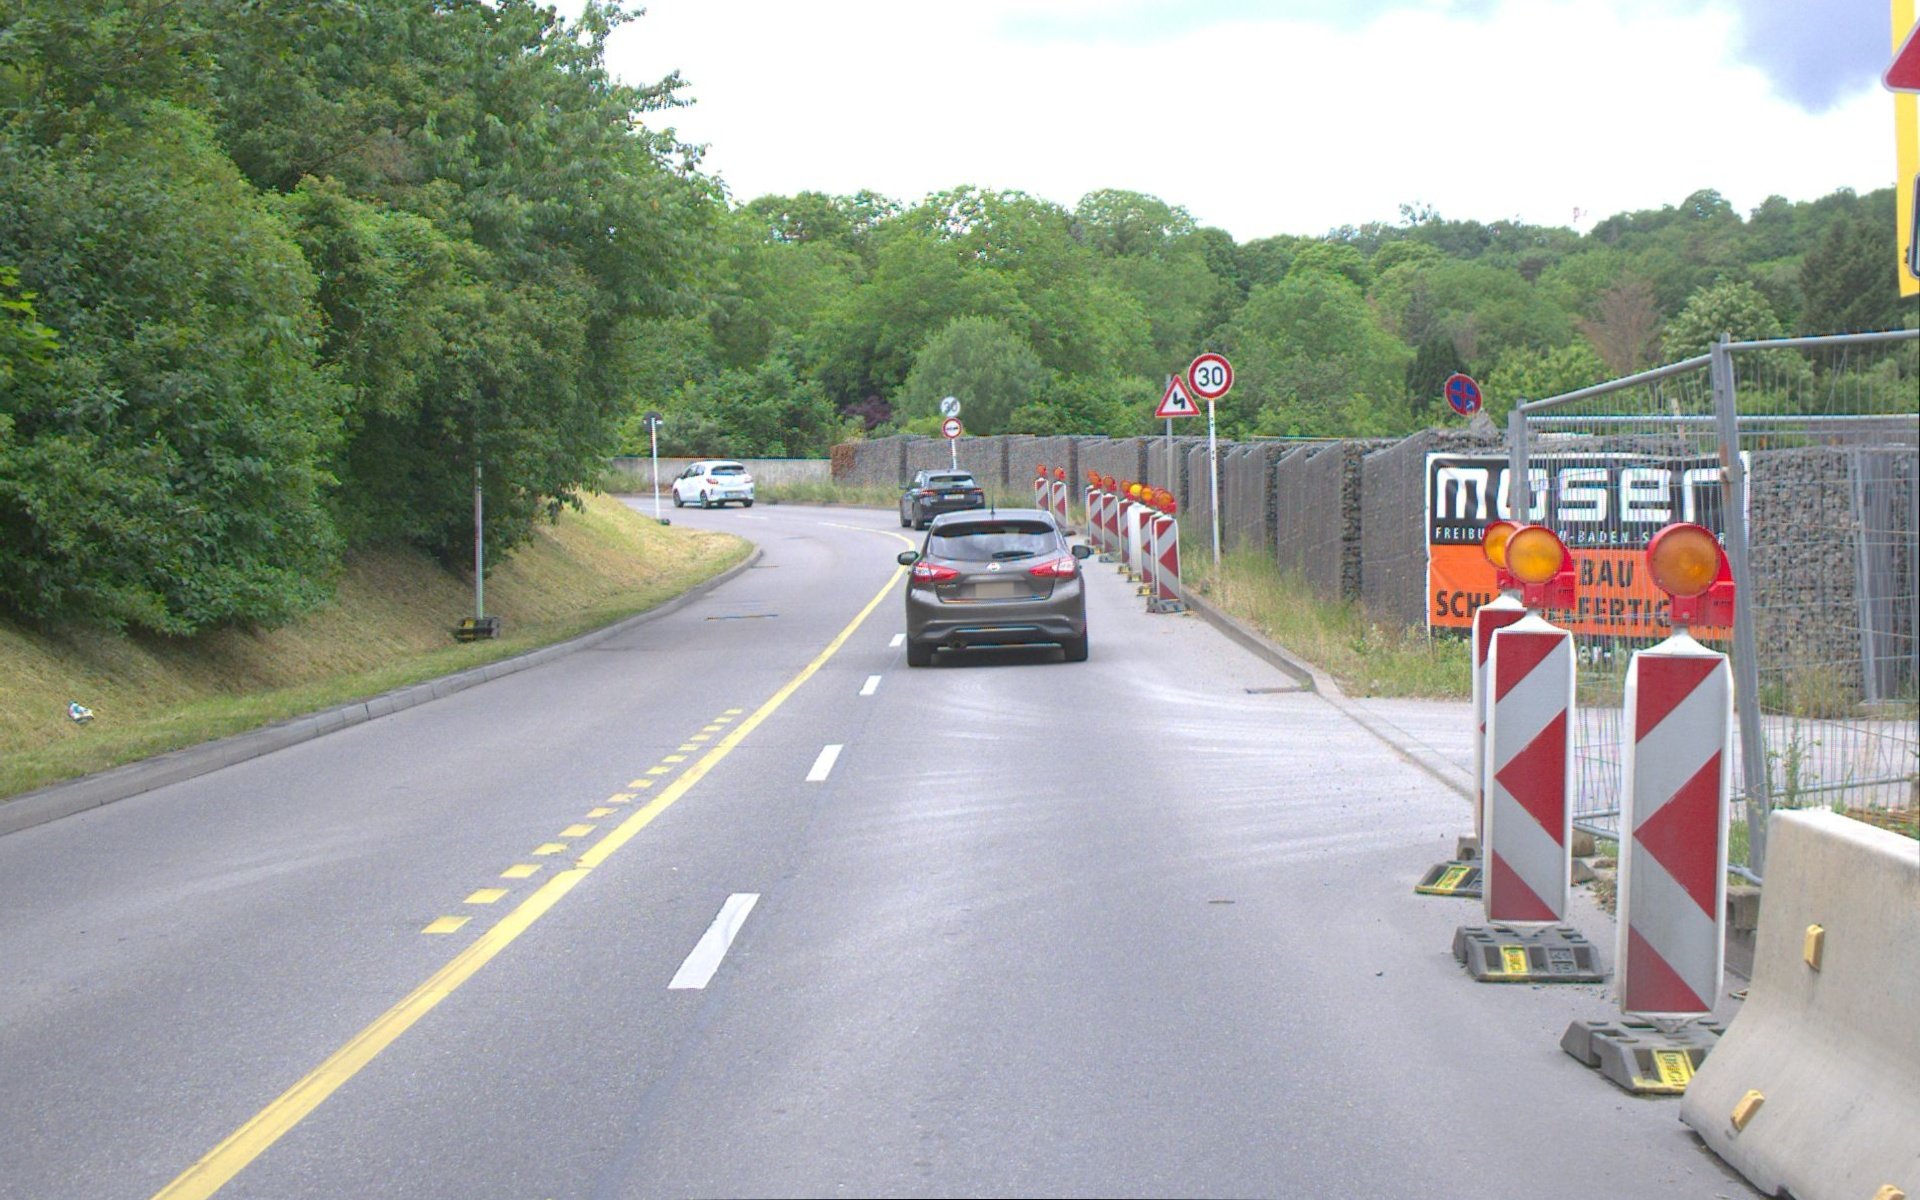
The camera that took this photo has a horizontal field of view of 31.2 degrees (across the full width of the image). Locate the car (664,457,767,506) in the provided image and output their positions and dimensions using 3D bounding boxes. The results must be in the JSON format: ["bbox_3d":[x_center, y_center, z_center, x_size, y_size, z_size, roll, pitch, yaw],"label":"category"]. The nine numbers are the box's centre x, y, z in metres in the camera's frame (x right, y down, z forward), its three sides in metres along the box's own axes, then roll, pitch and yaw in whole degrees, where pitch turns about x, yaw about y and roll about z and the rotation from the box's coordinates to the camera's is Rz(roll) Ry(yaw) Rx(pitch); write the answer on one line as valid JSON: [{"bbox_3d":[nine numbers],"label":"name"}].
[{"bbox_3d":[-7.838,-3.804,109.994,1.832,1.434,3.920,-2,4,-28],"label":"car"}]

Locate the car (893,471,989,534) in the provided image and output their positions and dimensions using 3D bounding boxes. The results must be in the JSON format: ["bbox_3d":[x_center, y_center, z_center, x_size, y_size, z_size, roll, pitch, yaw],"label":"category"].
[{"bbox_3d":[-0.498,-2.422,85.867,1.779,1.448,3.859,1,0,-10],"label":"car"}]

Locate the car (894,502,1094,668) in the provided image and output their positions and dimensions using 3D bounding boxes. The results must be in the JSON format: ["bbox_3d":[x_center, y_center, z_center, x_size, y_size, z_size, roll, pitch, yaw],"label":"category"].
[{"bbox_3d":[0.299,-0.199,34.782,1.839,1.478,4.001,-3,2,-1],"label":"car"}]
